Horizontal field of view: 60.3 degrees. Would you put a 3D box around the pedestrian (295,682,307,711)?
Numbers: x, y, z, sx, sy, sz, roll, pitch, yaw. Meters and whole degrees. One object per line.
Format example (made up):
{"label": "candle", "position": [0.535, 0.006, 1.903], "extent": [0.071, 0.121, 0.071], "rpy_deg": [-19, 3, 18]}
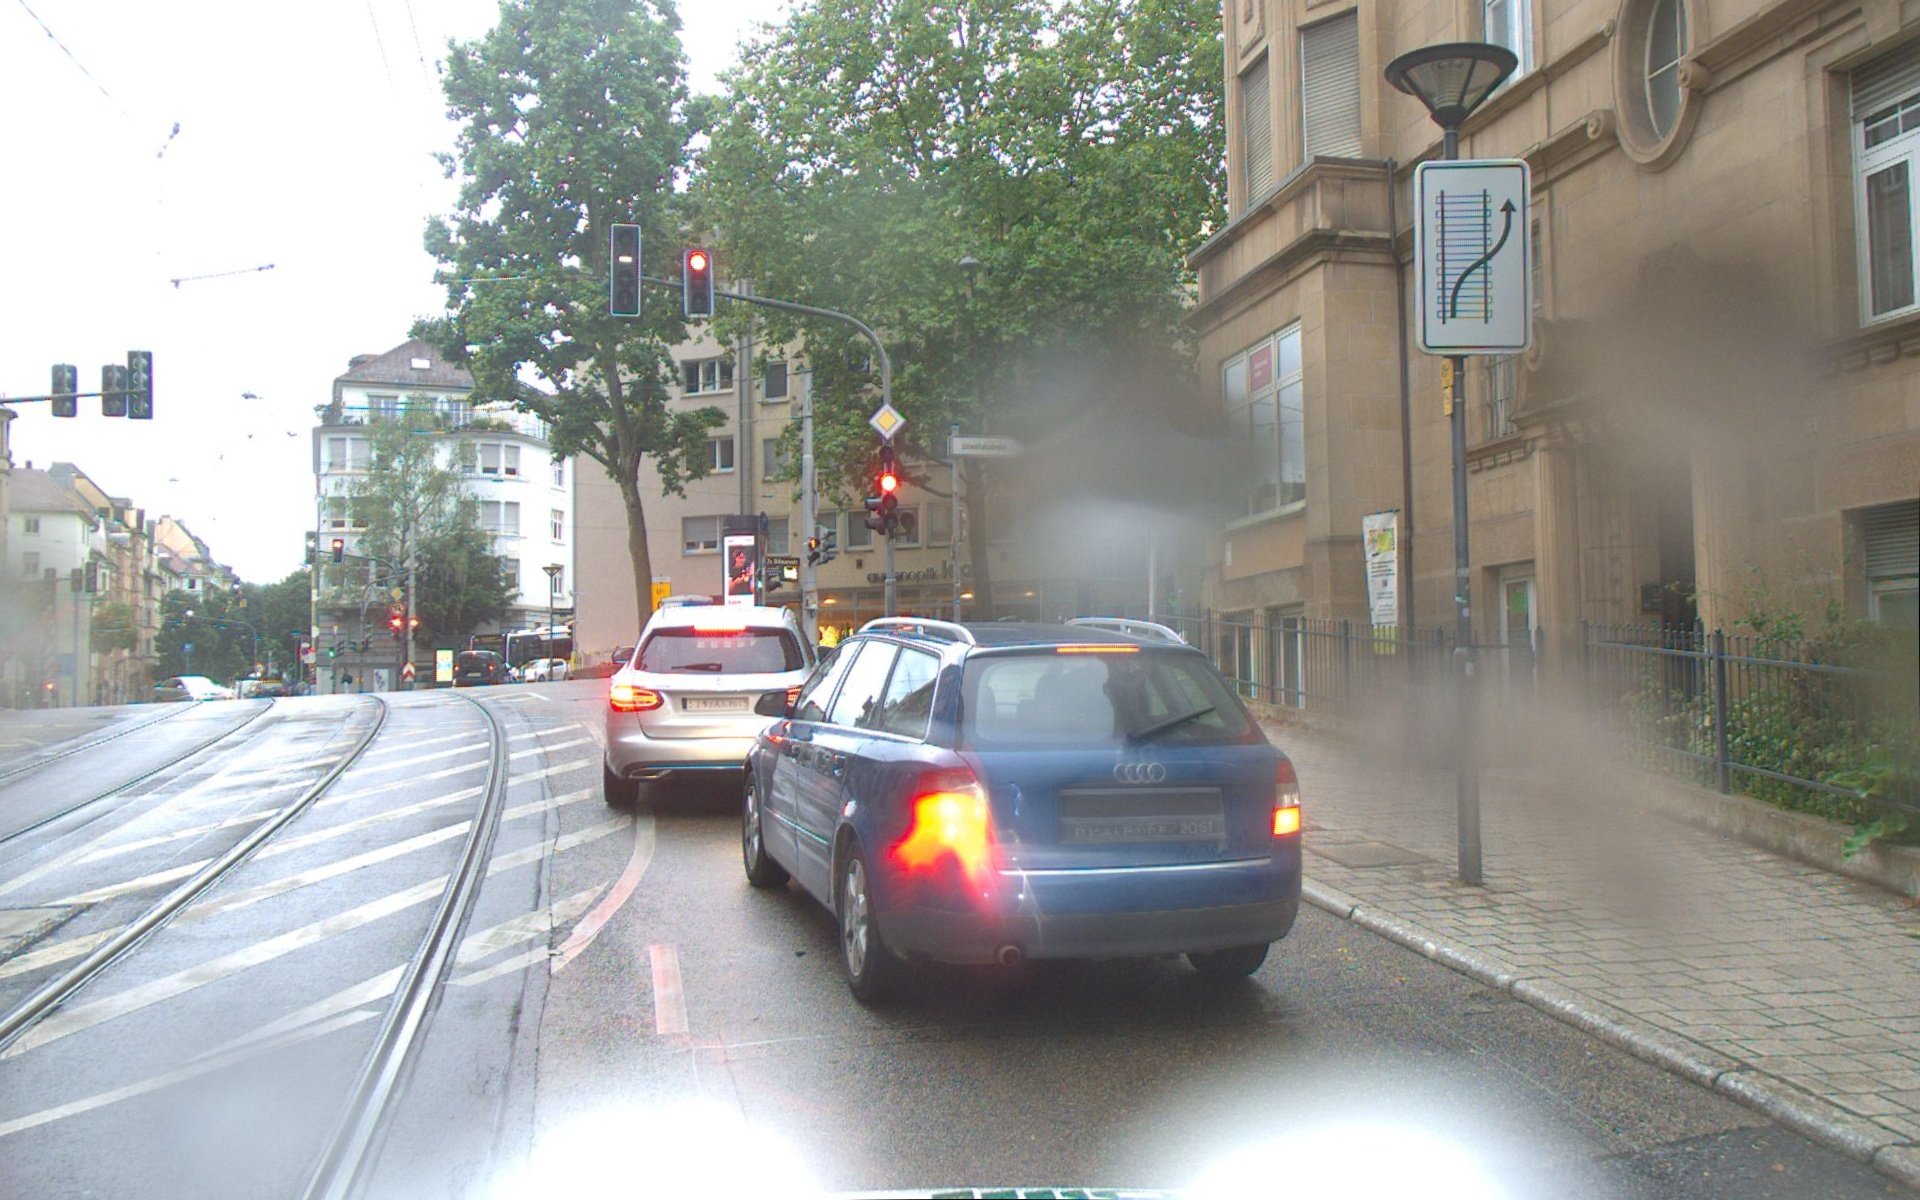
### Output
{"label": "pedestrian", "position": [-38.643, 5.645, 97.022], "extent": [0.639, 1.690, 0.646], "rpy_deg": [0, -1, -21]}

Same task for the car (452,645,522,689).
{"label": "car", "position": [-19.390, 2.727, 68.014], "extent": [1.758, 1.536, 3.999], "rpy_deg": [-3, 0, -2]}

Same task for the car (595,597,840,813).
{"label": "car", "position": [-1.918, 0.723, 13.258], "extent": [1.678, 1.481, 3.546], "rpy_deg": [0, 0, -8]}

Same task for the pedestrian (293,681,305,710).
{"label": "pedestrian", "position": [-39.823, 5.754, 99.582], "extent": [0.639, 1.690, 0.646], "rpy_deg": [0, -1, -21]}

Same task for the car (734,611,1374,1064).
{"label": "car", "position": [0.108, 0.794, 7.601], "extent": [1.683, 1.440, 4.017], "rpy_deg": [0, 0, -17]}

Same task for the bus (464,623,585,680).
{"label": "bus", "position": [-24.677, 2.860, 94.253], "extent": [2.793, 2.911, 8.741], "rpy_deg": [-1, 0, 13]}

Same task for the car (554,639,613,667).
{"label": "car", "position": [-23.022, 3.217, 101.167], "extent": [1.756, 1.536, 4.002], "rpy_deg": [-1, 0, 17]}

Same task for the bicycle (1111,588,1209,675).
{"label": "bicycle", "position": [2.925, 0.455, 24.206], "extent": [1.278, 1.194, 0.524], "rpy_deg": [-3, 0, -13]}

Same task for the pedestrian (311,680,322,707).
{"label": "pedestrian", "position": [-41.537, 6.032, 106.763], "extent": [0.639, 1.690, 0.646], "rpy_deg": [0, -1, -21]}

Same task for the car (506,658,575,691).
{"label": "car", "position": [-22.400, 3.993, 88.473], "extent": [1.756, 1.536, 4.002], "rpy_deg": [-1, 0, 17]}

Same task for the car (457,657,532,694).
{"label": "car", "position": [-23.474, 3.798, 83.509], "extent": [1.756, 1.642, 4.002], "rpy_deg": [-1, 0, 17]}

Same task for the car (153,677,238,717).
{"label": "car", "position": [-33.786, 4.247, 73.045], "extent": [4.582, 1.537, 1.789], "rpy_deg": [-1, 0, 42]}
